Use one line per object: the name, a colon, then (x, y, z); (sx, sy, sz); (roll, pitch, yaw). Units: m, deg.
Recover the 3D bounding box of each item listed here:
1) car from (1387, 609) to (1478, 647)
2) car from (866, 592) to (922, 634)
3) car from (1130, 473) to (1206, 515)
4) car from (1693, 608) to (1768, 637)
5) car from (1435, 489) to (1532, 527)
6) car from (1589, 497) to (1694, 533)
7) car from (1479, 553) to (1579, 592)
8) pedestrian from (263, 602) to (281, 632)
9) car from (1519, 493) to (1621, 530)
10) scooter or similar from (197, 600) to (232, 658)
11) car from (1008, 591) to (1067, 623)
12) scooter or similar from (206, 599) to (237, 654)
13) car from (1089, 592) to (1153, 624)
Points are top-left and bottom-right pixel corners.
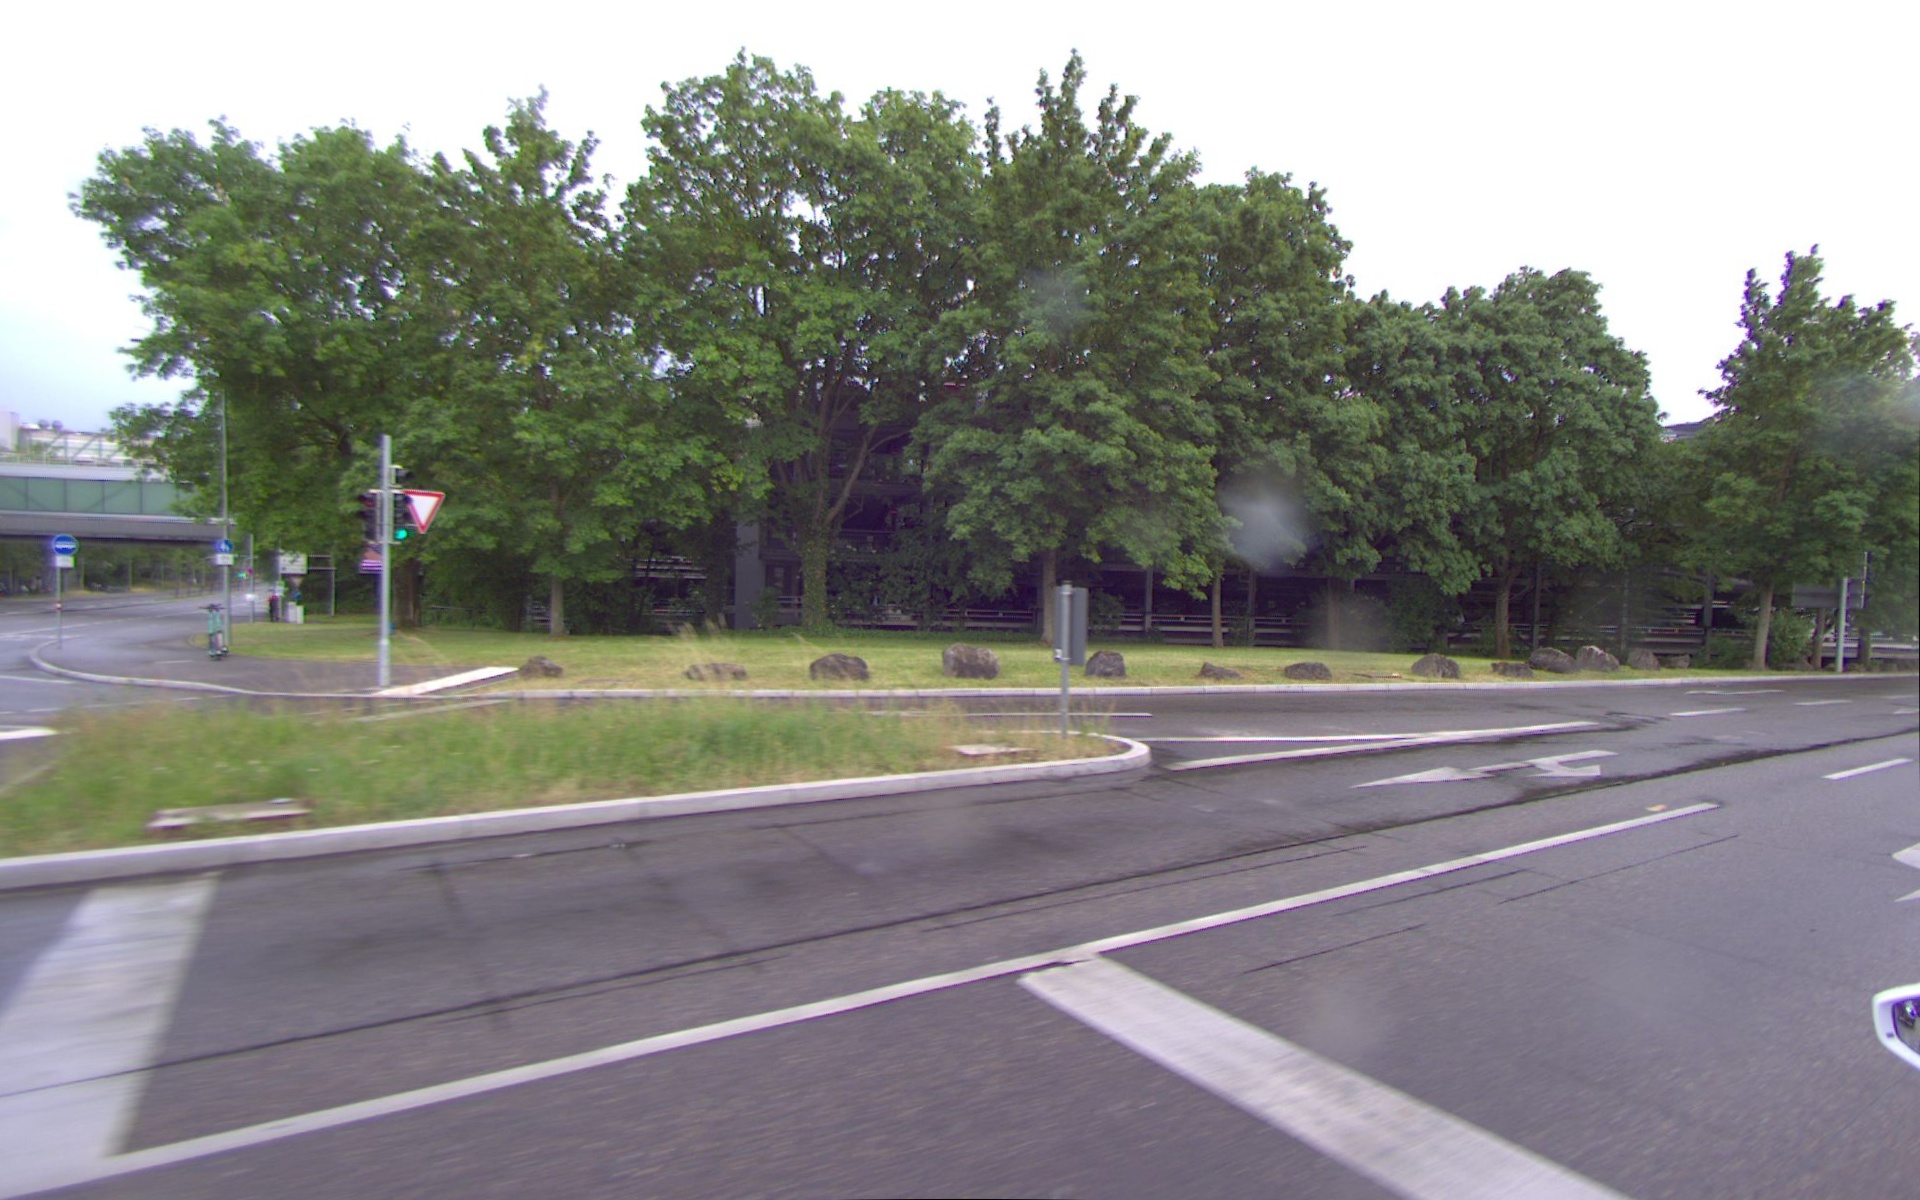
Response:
car: (21.827, 1.251, 46.623); (1.963, 1.539, 3.995); (2, 0, -7)
car: (-2.731, 0.505, 40.770); (1.963, 1.539, 3.995); (2, 0, -7)
car: (8.785, -4.459, 42.743); (1.963, 1.539, 3.994); (2, 4, -7)
car: (47.843, 1.363, 62.441); (1.559, 1.539, 3.464); (2, 1, -13)
car: (23.985, -4.208, 46.191); (1.963, 1.539, 3.994); (2, 4, -7)
car: (32.486, -4.039, 48.022); (1.963, 1.539, 3.994); (2, 4, -7)
car: (26.293, -1.300, 46.555); (1.963, 1.539, 3.994); (2, 4, -7)
pedestrian: (-37.596, 0.932, 54.882); (0.737, 1.651, 0.705); (1, -1, -38)
car: (28.478, -4.123, 47.065); (1.963, 1.539, 3.994); (2, 4, -7)
scooter or similar: (-16.982, 0.642, 22.878); (0.545, 1.276, 1.341); (0, 0, -41)
car: (4.092, 0.327, 53.435); (1.966, 1.539, 3.989); (2, 0, -13)
scooter or similar: (-17.741, 0.621, 24.122); (0.513, 1.276, 1.211); (0, 0, -41)
car: (8.611, 0.412, 53.942); (1.966, 1.539, 3.989); (2, 0, -13)
